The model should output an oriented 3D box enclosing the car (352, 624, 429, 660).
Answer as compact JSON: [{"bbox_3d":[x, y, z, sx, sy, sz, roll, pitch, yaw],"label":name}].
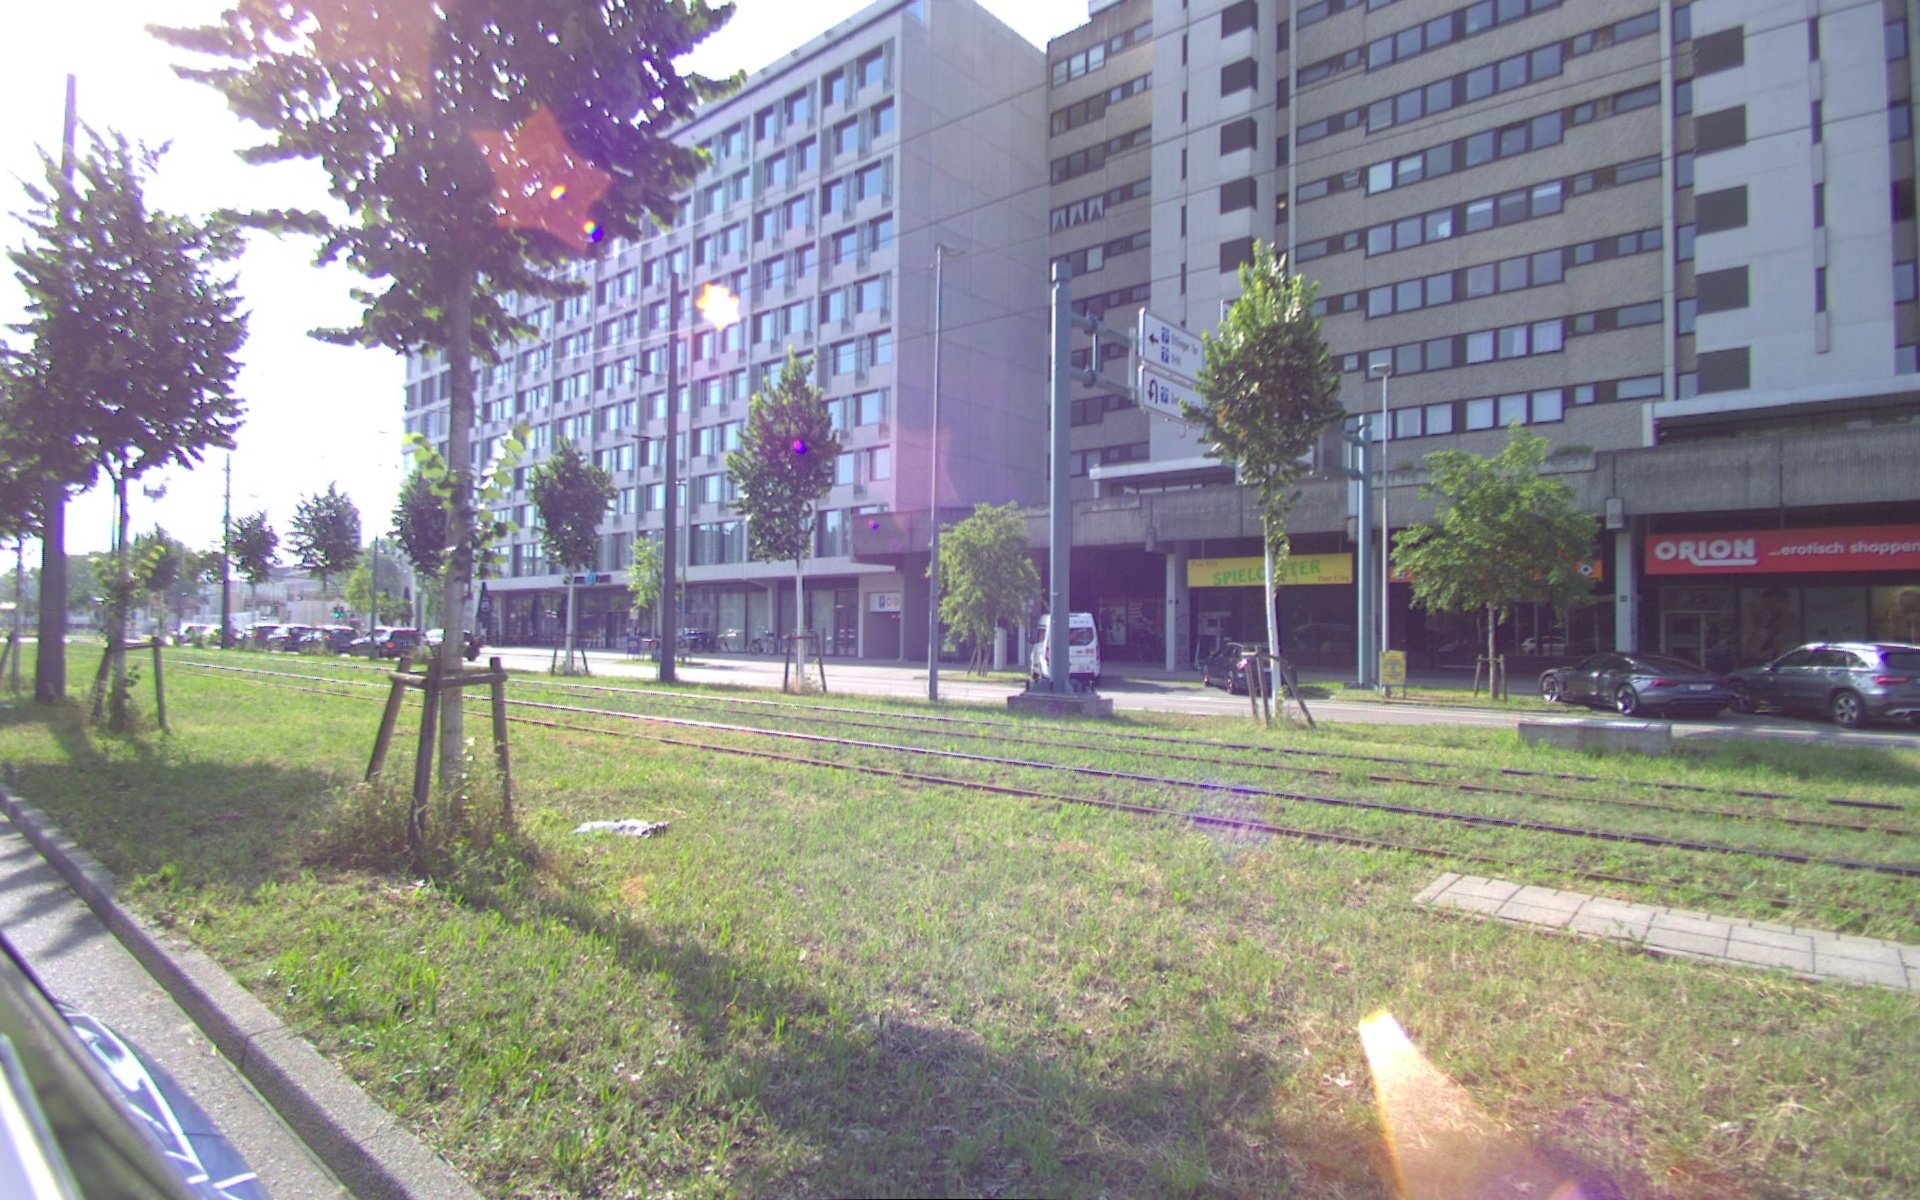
[{"bbox_3d":[-24.550,1.782,43.575,4.001,1.492,1.787,-1,-3,44],"label":"car"}]

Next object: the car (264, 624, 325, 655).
[{"bbox_3d":[-34.770,2.046,52.807,4.001,1.586,1.787,-1,-3,44],"label":"car"}]

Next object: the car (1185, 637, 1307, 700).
[{"bbox_3d":[8.287,1.944,29.743,2.070,1.594,4.005,-1,-1,-5],"label":"car"}]

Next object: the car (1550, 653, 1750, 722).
[{"bbox_3d":[15.776,1.967,23.443,1.854,1.253,4.109,-1,0,2],"label":"car"}]

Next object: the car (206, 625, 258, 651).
[{"bbox_3d":[-43.541,2.243,60.530,4.001,1.486,1.787,-1,-3,44],"label":"car"}]

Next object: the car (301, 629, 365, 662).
[{"bbox_3d":[-30.055,2.162,48.497,3.642,1.498,1.721,-1,-3,44],"label":"car"}]

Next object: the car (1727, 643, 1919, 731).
[{"bbox_3d":[18.475,1.721,21.099,1.854,1.618,4.109,0,-2,2],"label":"car"}]

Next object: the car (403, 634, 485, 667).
[{"bbox_3d":[-24.750,2.386,48.466,4.416,1.502,1.973,-1,-3,41],"label":"car"}]

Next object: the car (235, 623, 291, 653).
[{"bbox_3d":[-38.891,2.105,56.413,4.001,1.586,1.787,-1,-3,44],"label":"car"}]

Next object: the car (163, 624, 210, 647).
[{"bbox_3d":[-51.783,2.366,67.702,3.999,1.536,1.763,-1,-3,42],"label":"car"}]

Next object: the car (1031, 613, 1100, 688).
[{"bbox_3d":[3.522,1.690,34.674,1.859,2.326,5.406,0,-2,1],"label":"car"}]

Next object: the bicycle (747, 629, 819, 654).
[{"bbox_3d":[-9.849,2.320,56.485,3.936,1.377,1.128,2,-3,-40],"label":"bicycle"}]
